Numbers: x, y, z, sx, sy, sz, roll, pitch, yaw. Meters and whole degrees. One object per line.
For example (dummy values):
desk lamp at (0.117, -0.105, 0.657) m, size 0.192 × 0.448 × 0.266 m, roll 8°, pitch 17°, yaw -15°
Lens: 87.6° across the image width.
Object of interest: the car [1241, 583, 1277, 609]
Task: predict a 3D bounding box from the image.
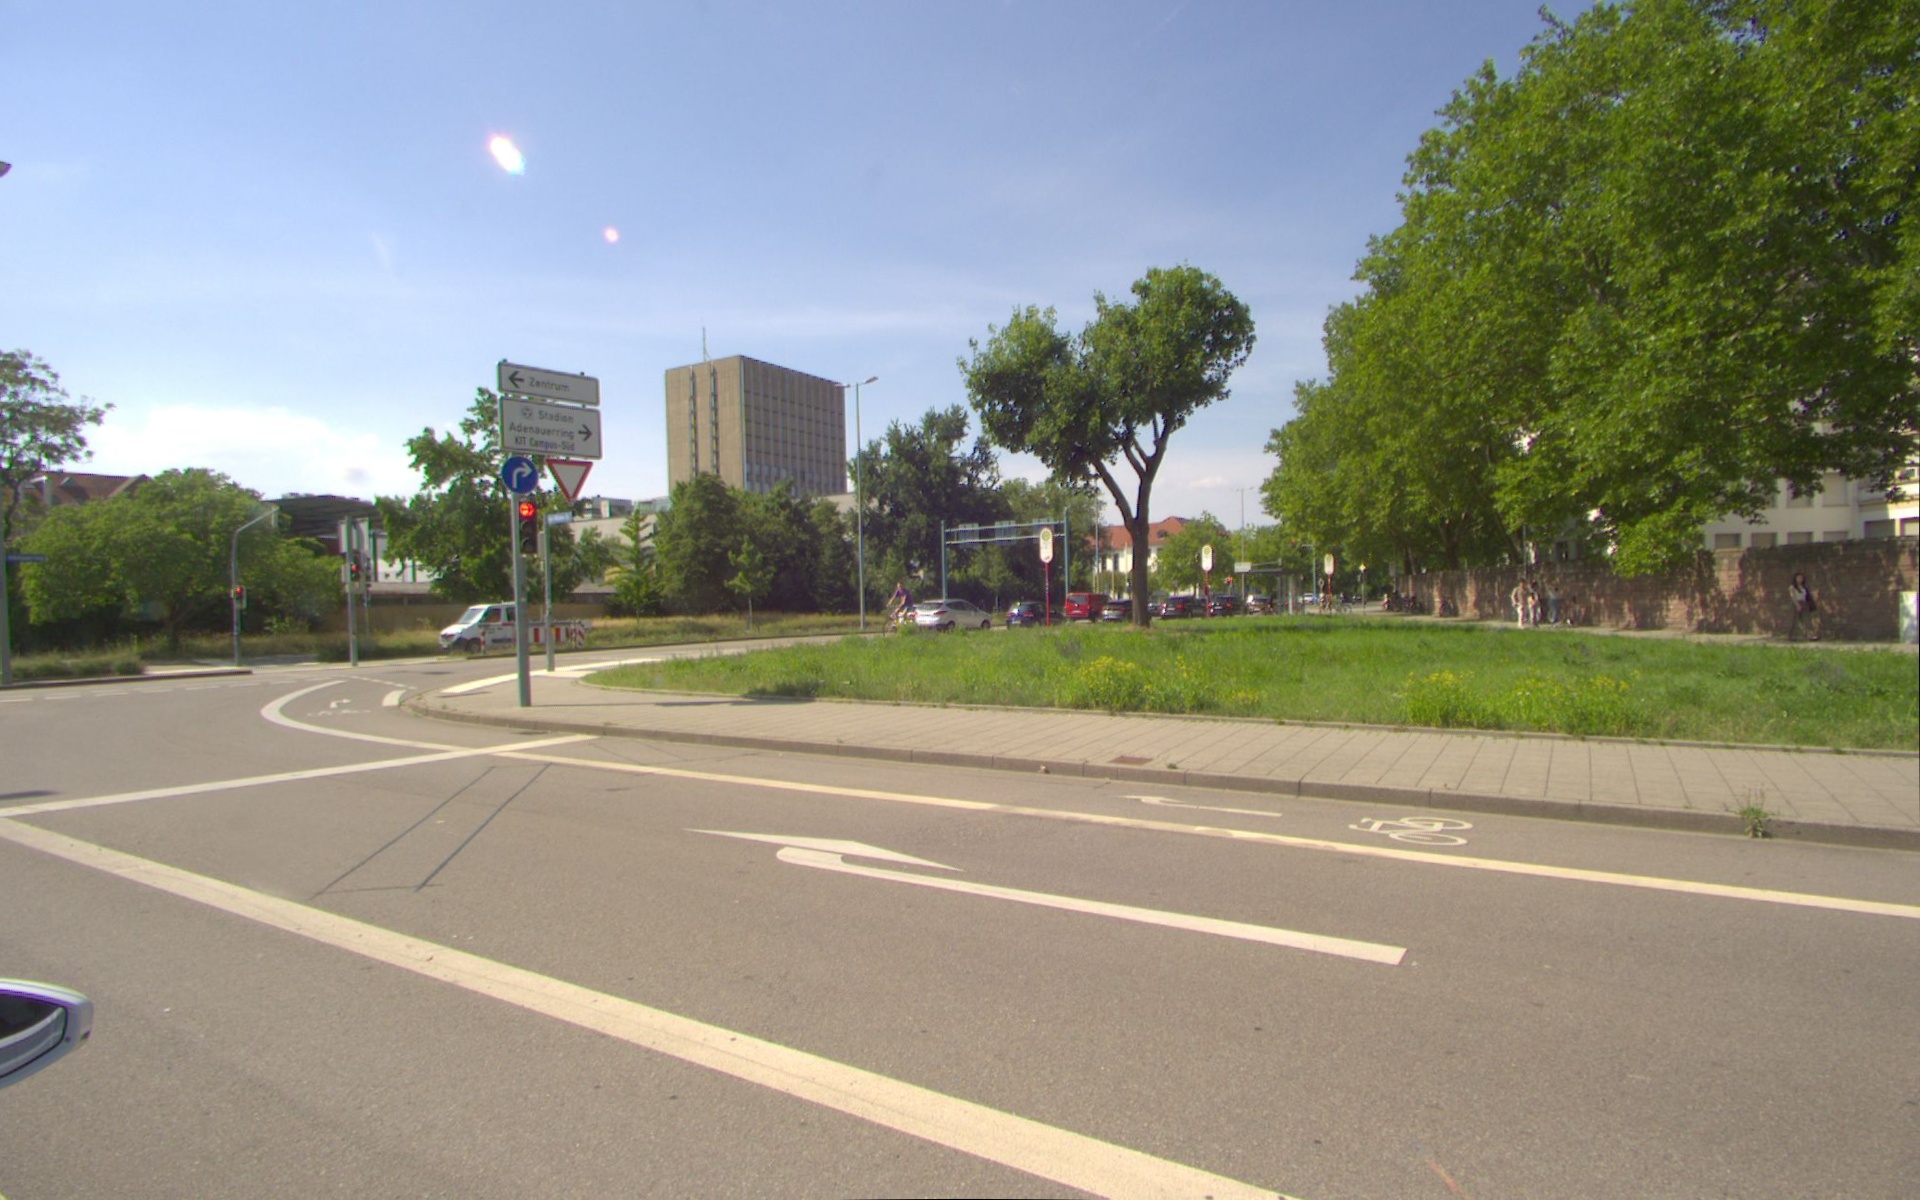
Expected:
car at (24.544, -0.354, 82.199) m, size 1.970 × 2.041 × 3.980 m, roll -1°, pitch 1°, yaw 30°

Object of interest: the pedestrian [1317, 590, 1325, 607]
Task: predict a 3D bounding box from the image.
pedestrian at (32.025, -0.122, 88.912) m, size 0.552 × 1.458 × 0.729 m, roll -1°, pitch 1°, yaw 30°

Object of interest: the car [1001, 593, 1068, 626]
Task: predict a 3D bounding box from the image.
car at (3.918, 0.488, 52.119) m, size 1.564 × 1.612 × 3.972 m, roll -1°, pitch 1°, yaw 37°

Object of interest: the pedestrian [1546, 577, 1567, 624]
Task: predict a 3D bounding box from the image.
pedestrian at (20.872, 0.021, 35.040) m, size 0.515 × 1.599 × 0.701 m, roll -1°, pitch 1°, yaw 23°

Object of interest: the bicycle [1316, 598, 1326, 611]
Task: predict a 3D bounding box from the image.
bicycle at (32.066, 0.407, 88.969) m, size 0.552 × 1.066 × 1.318 m, roll -1°, pitch 1°, yaw 30°

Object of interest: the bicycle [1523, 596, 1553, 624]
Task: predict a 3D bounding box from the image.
bicycle at (21.996, 0.366, 38.126) m, size 0.439 × 1.047 × 1.447 m, roll -1°, pitch 1°, yaw 6°

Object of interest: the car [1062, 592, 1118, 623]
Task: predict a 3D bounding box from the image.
car at (8.415, 0.454, 64.526) m, size 1.950 × 1.821 × 4.587 m, roll -1°, pitch 1°, yaw 31°

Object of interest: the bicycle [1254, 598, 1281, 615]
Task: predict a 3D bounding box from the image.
bicycle at (23.553, 0.528, 76.577) m, size 0.838 × 1.233 × 3.462 m, roll -1°, pitch -2°, yaw 37°

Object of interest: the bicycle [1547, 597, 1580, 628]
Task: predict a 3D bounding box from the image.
bicycle at (21.668, 0.440, 35.995) m, size 0.439 × 1.047 × 1.447 m, roll -1°, pitch 1°, yaw 6°

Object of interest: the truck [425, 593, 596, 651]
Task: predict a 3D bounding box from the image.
truck at (-20.637, 0.955, 46.411) m, size 2.380 × 2.386 × 7.007 m, roll -3°, pitch 0°, yaw 33°

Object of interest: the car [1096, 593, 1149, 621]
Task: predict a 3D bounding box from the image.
car at (9.995, 0.405, 61.301) m, size 1.564 × 1.612 × 3.972 m, roll -1°, pitch 1°, yaw 37°

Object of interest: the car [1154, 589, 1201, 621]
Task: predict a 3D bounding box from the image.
car at (14.850, 0.303, 68.110) m, size 1.970 × 2.041 × 3.980 m, roll -1°, pitch 1°, yaw 30°

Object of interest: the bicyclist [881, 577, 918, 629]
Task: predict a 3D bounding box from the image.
bicyclist at (-1.956, 0.107, 32.238) m, size 1.068 × 1.659 × 0.486 m, roll -1°, pitch 1°, yaw 29°

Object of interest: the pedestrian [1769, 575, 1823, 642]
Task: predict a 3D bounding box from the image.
pedestrian at (20.144, 0.208, 24.144) m, size 0.493 × 1.569 × 0.913 m, roll -1°, pitch 1°, yaw -4°

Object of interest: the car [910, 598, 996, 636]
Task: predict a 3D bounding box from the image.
car at (-0.285, 0.763, 46.465) m, size 1.691 × 1.640 × 4.183 m, roll -1°, pitch 1°, yaw 40°

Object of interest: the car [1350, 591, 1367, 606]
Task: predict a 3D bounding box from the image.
car at (57.277, -0.208, 143.810) m, size 1.968 × 2.039 × 3.987 m, roll -1°, pitch -2°, yaw 26°

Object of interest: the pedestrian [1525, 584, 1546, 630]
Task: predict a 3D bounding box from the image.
pedestrian at (20.274, 0.240, 35.288) m, size 0.515 × 1.599 × 0.701 m, roll -1°, pitch 1°, yaw 23°

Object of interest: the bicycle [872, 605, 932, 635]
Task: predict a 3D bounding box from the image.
bicycle at (-1.868, 0.648, 32.329) m, size 1.912 × 0.899 × 0.679 m, roll -2°, pitch 1°, yaw -42°

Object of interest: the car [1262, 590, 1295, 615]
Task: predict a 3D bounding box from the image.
car at (27.996, 0.229, 87.950) m, size 1.970 × 2.039 × 3.984 m, roll -1°, pitch -2°, yaw 29°

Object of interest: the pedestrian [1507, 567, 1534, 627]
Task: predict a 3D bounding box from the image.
pedestrian at (19.297, -0.090, 34.464) m, size 0.513 × 2.040 × 0.596 m, roll -2°, pitch 1°, yaw -9°

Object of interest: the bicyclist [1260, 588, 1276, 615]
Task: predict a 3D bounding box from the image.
bicyclist at (23.576, 0.122, 76.632) m, size 0.769 × 2.039 × 1.265 m, roll -1°, pitch -2°, yaw 38°

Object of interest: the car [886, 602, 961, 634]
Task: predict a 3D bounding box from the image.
car at (-1.759, 0.855, 49.619) m, size 1.562 × 1.439 × 4.147 m, roll -1°, pitch 1°, yaw 33°

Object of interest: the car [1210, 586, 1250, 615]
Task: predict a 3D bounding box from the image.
car at (20.323, 0.024, 75.239) m, size 1.970 × 2.041 × 3.980 m, roll -1°, pitch 1°, yaw 30°
